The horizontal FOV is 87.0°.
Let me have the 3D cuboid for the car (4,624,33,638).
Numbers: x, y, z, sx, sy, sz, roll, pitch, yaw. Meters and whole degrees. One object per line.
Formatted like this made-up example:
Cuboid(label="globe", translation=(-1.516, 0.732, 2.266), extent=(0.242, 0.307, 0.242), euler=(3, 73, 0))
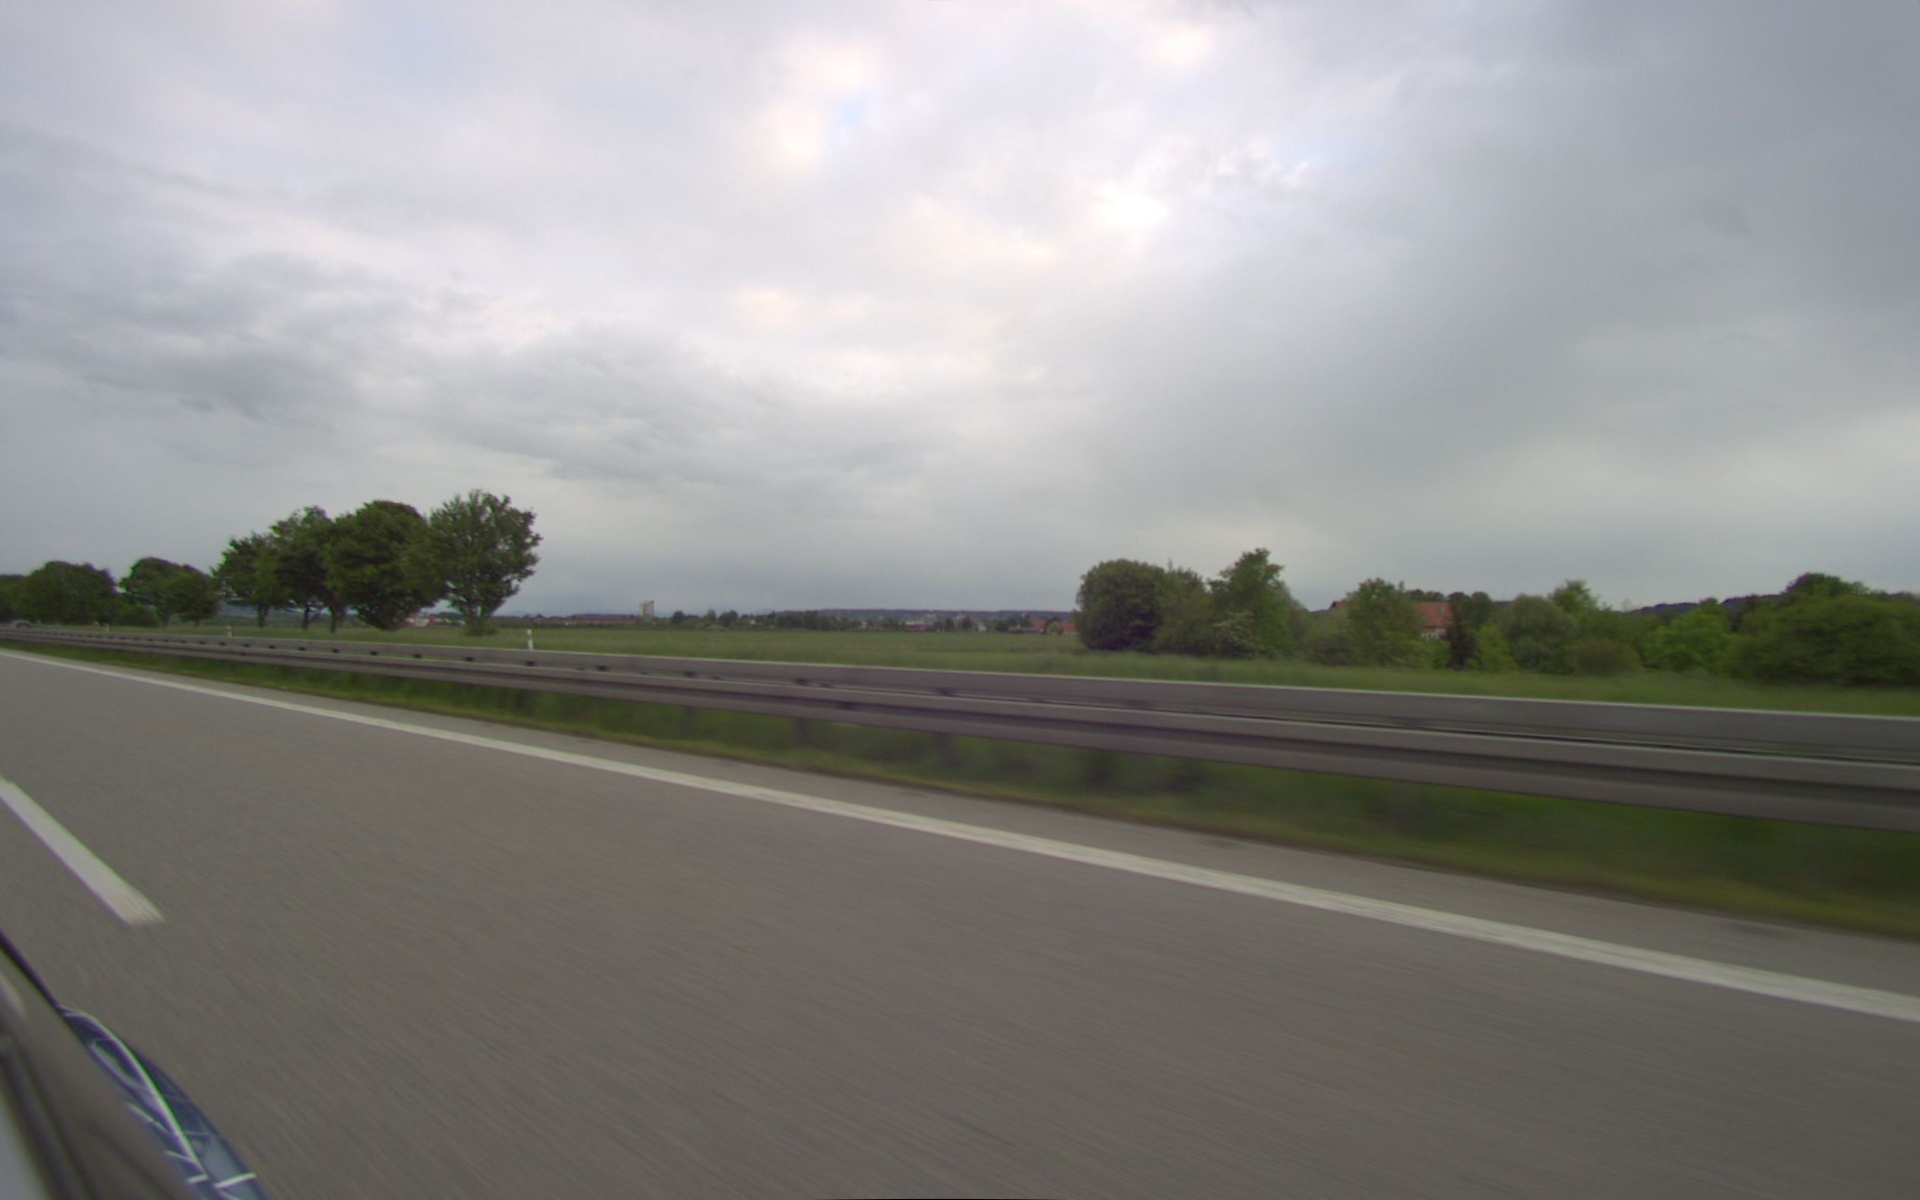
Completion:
Cuboid(label="car", translation=(-105.345, 3.458, 113.182), extent=(3.998, 1.456, 1.973), euler=(-1, 0, 41))
